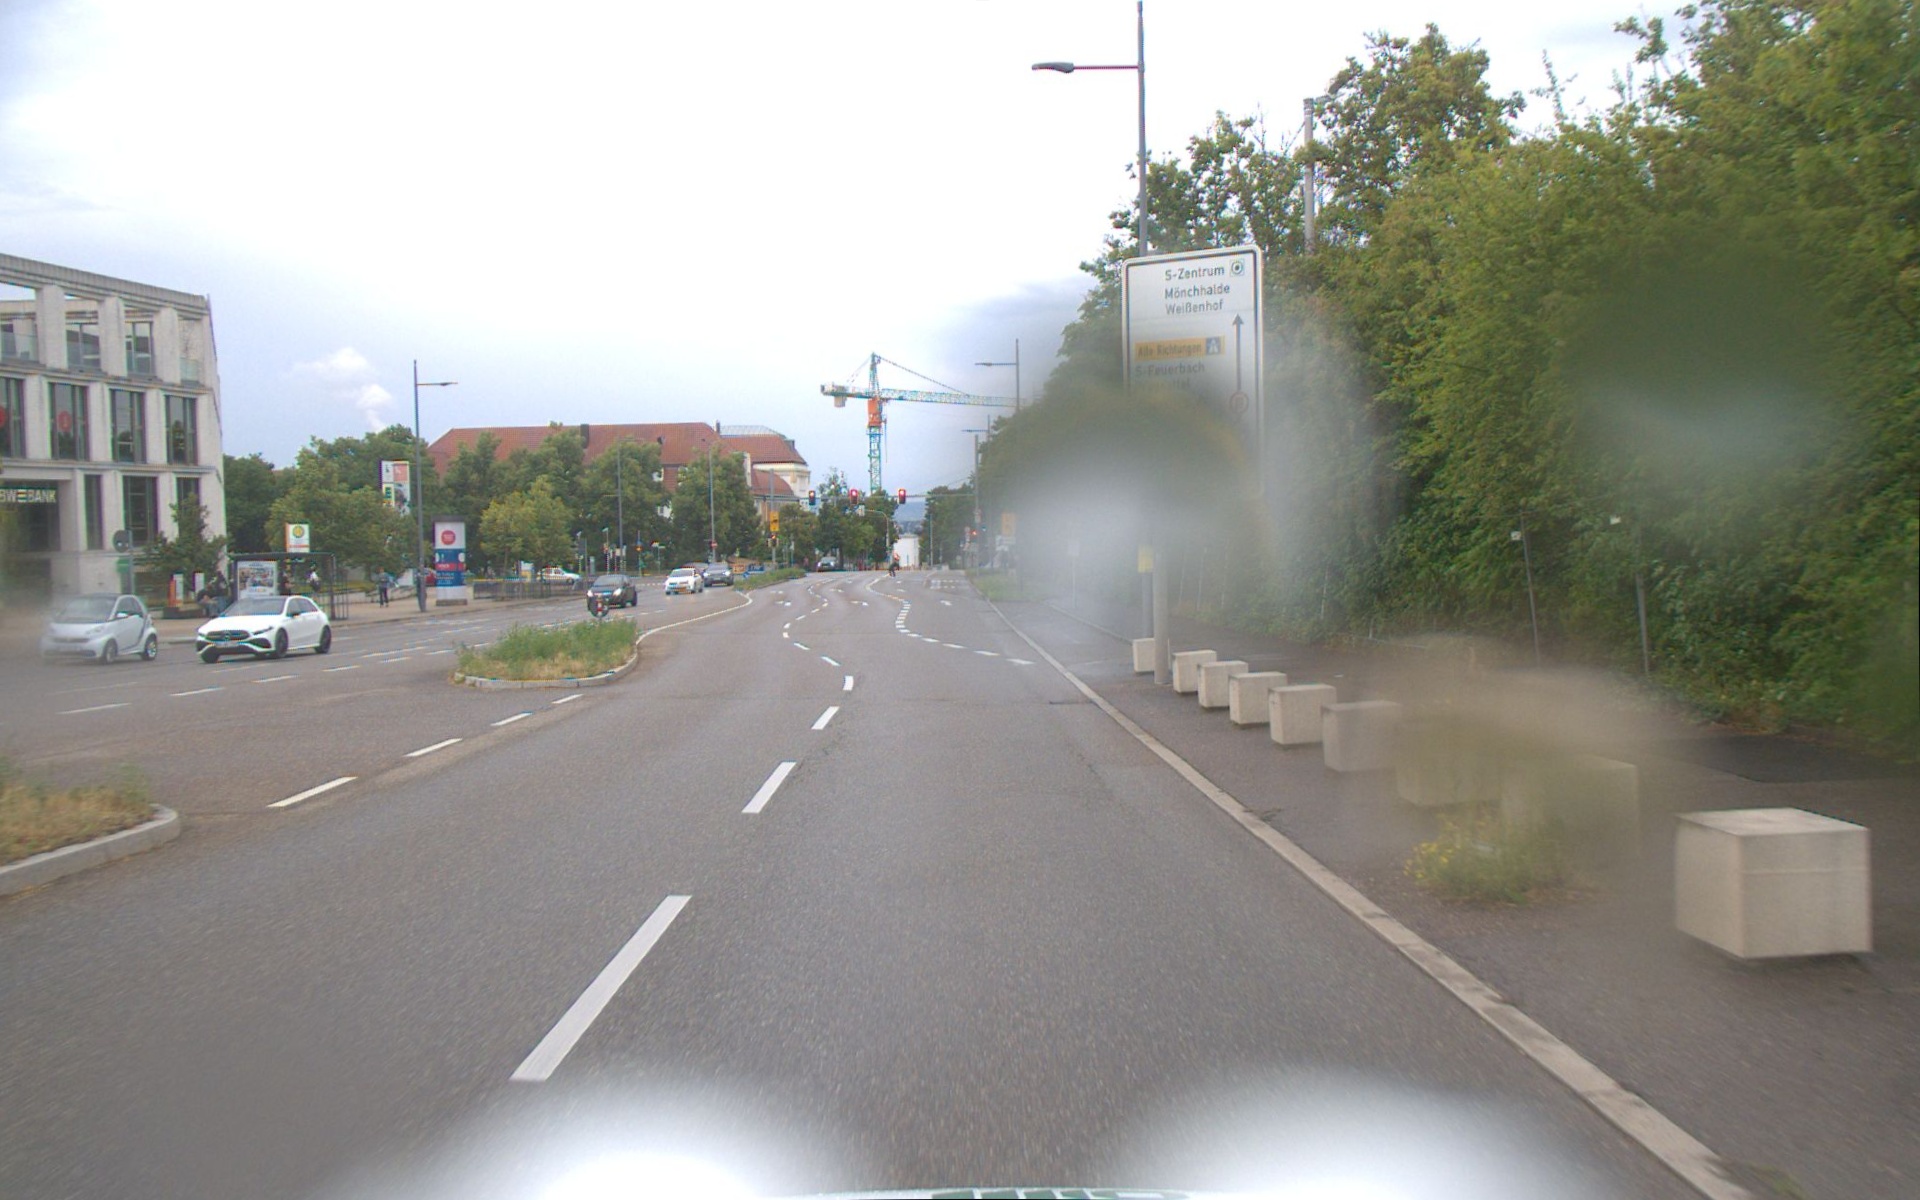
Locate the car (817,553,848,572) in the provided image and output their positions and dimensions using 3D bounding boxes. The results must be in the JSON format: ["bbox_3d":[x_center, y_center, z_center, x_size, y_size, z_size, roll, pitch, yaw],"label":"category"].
[{"bbox_3d":[-13.185,-3.901,170.939,1.951,1.870,4.003,0,0,16],"label":"car"}]

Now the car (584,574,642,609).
[{"bbox_3d":[-15.629,-0.392,74.619,1.809,1.487,3.867,-2,1,-1],"label":"car"}]

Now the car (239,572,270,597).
[{"bbox_3d":[-53.722,-1.190,125.890,1.754,1.761,3.963,-2,2,-28],"label":"car"}]

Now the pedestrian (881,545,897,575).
[{"bbox_3d":[-5.045,-2.836,117.656,0.920,2.048,0.848,-4,1,5],"label":"pedestrian"}]

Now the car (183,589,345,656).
[{"bbox_3d":[-16.356,0.492,39.122,1.953,1.443,4.512,-1,1,-1],"label":"car"}]

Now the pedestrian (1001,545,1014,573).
[{"bbox_3d":[2.887,-2.499,100.526,0.663,1.686,0.792,-2,2,-6],"label":"pedestrian"}]

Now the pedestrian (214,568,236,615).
[{"bbox_3d":[-27.892,-0.325,62.768,0.514,1.755,0.566,-1,1,1],"label":"pedestrian"}]

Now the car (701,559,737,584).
[{"bbox_3d":[-16.746,-1.971,115.232,1.795,1.599,4.593,-4,1,-1],"label":"car"}]

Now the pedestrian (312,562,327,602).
[{"bbox_3d":[-27.871,-0.795,71.957,0.489,1.719,0.911,-1,1,-17],"label":"pedestrian"}]

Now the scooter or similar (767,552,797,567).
[{"bbox_3d":[-19.040,-4.326,177.138,3.026,1.465,0.948,-2,2,-3],"label":"scooter or similar"}]

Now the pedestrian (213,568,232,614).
[{"bbox_3d":[-28.632,-0.363,64.255,0.417,1.755,0.621,-1,1,0],"label":"pedestrian"}]

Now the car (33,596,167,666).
[{"bbox_3d":[-19.811,0.681,38.222,1.581,1.534,2.972,0,1,-1],"label":"car"}]

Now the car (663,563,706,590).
[{"bbox_3d":[-16.196,-1.380,97.383,1.835,1.454,4.175,-4,1,-1],"label":"car"}]

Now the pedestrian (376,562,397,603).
[{"bbox_3d":[-25.894,-0.792,74.654,0.586,1.792,0.857,-1,1,1],"label":"pedestrian"}]

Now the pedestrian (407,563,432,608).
[{"bbox_3d":[-22.802,-0.614,69.789,0.737,1.874,0.747,-1,1,1],"label":"pedestrian"}]

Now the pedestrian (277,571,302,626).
[{"bbox_3d":[-23.004,-0.052,56.744,0.497,1.874,0.755,-1,1,-2],"label":"pedestrian"}]

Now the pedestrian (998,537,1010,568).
[{"bbox_3d":[2.794,-2.984,104.823,0.628,1.934,0.717,-2,1,-6],"label":"pedestrian"}]
